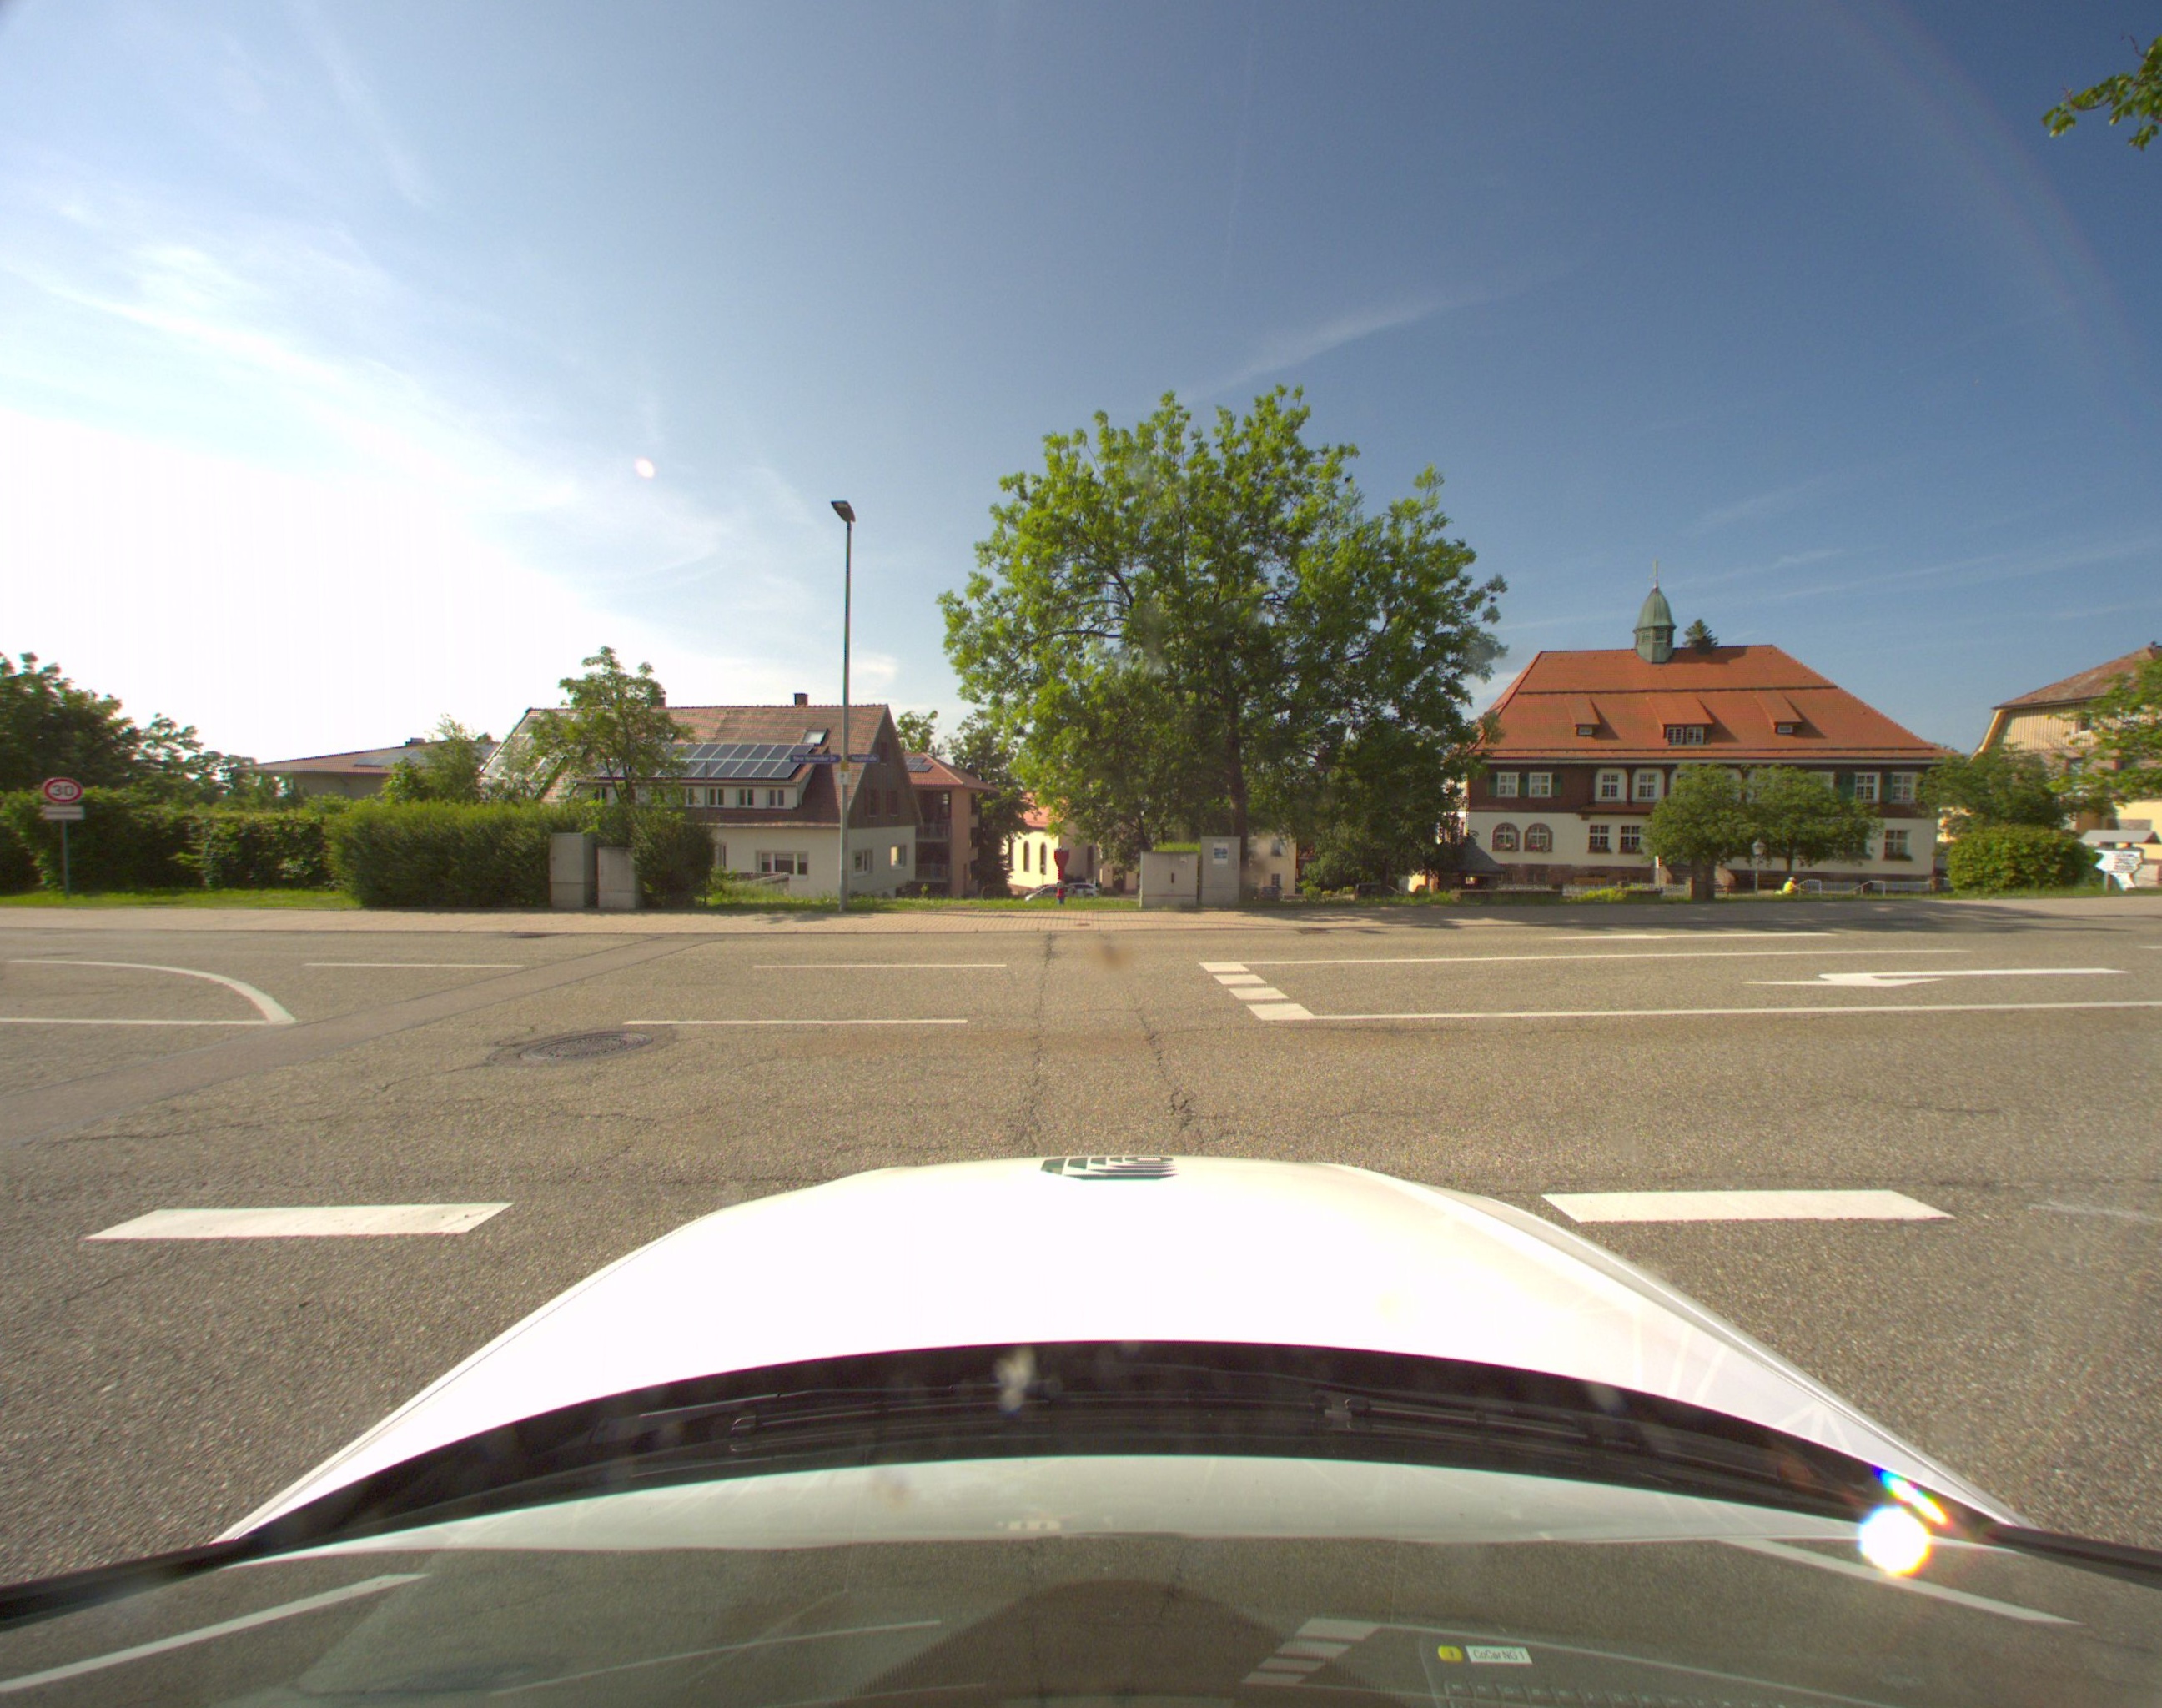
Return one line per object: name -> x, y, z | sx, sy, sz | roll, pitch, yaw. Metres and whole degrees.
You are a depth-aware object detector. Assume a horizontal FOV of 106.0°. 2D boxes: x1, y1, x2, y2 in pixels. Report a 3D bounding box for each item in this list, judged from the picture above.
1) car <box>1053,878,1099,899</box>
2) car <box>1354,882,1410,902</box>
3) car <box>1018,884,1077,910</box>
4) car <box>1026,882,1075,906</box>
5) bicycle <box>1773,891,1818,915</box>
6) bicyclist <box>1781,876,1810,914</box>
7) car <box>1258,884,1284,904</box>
car -> -0.440, 2.895, 68.629 | 3.765, 1.593, 1.711 | -1, -1, -4
car -> 22.543, 2.821, 61.039 | 3.746, 1.444, 1.720 | -1, -1, 14
car -> -2.385, 3.046, 57.818 | 4.081, 1.758, 1.711 | -1, -1, -3
car -> -2.383, 3.117, 63.646 | 3.765, 1.758, 1.711 | -1, -1, -4
bicycle -> 37.095, 2.551, 42.299 | 1.709, 1.190, 0.541 | -1, -1, 16
bicyclist -> 37.107, 2.111, 42.299 | 0.987, 1.925, 0.584 | -1, -1, 16
car -> 15.744, 3.297, 67.653 | 1.699, 1.542, 3.791 | -1, -1, 6
